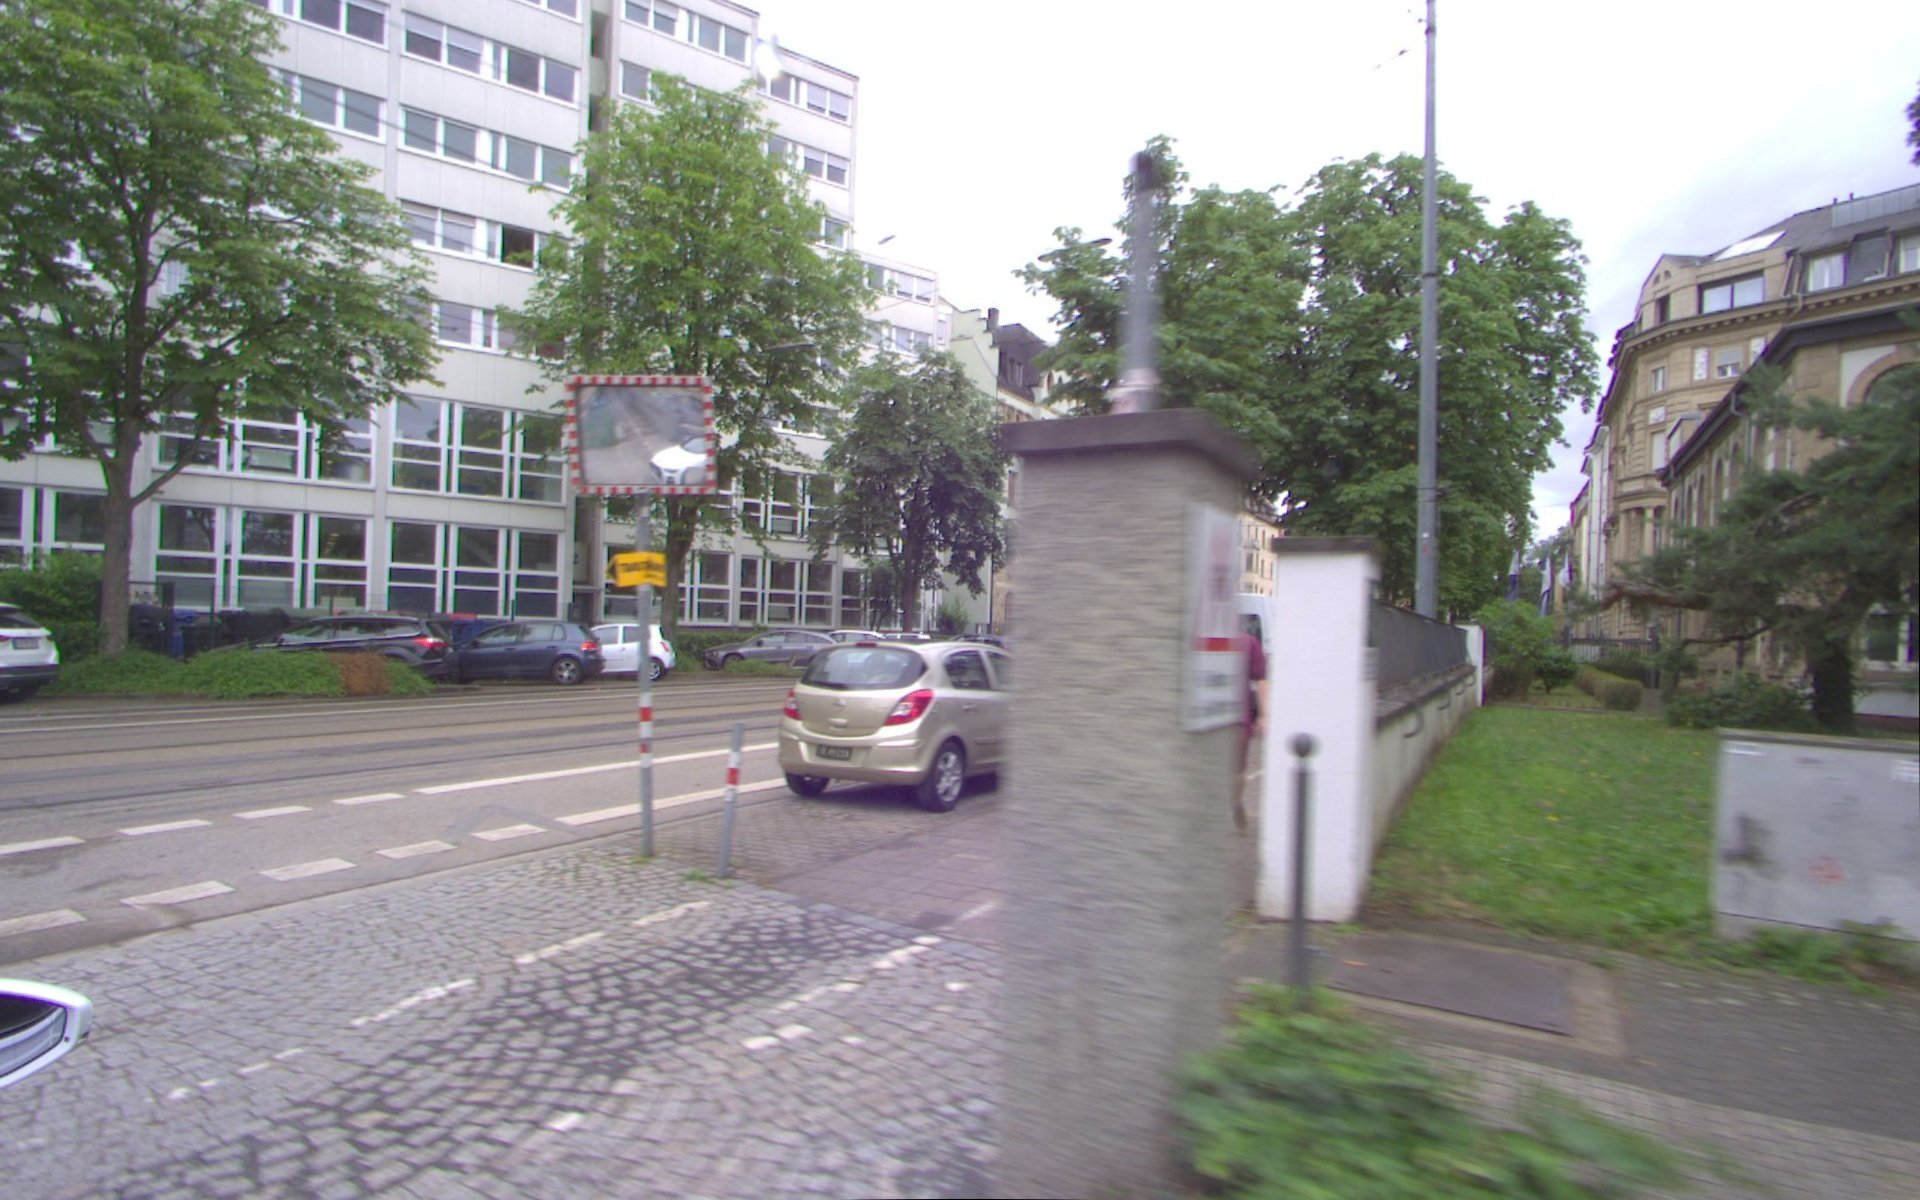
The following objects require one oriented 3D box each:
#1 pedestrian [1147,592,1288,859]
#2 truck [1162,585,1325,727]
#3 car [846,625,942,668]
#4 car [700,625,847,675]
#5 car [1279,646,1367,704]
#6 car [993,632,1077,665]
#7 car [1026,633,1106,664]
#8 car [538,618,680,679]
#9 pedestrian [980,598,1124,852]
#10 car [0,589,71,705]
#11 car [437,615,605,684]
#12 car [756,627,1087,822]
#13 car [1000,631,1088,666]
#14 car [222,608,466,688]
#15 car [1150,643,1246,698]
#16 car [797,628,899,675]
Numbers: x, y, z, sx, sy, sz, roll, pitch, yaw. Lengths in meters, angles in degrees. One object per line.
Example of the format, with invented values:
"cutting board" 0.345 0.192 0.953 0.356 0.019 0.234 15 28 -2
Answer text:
"pedestrian" 1.866 0.840 7.167 0.795 1.740 0.953 2 -1 23
"truck" 6.100 1.122 21.079 2.136 2.578 4.908 1 -1 30
"car" -2.478 1.719 37.421 3.329 1.493 1.415 2 -1 -14
"car" -5.936 1.607 31.897 4.420 1.491 1.415 2 -3 -18
"car" 9.877 1.967 27.077 1.783 1.371 3.799 1 -1 26
"car" 3.635 2.351 48.858 3.724 1.461 1.692 2 -1 -10
"car" 5.440 2.500 51.549 3.724 1.461 1.692 2 -1 -10
"car" -9.038 1.249 26.019 3.329 1.493 1.415 2 -1 -14
"pedestrian" 0.707 0.874 7.492 0.789 1.740 0.953 1 -1 23
"car" -15.377 0.630 14.526 3.345 1.639 1.555 2 -1 -12
"car" -10.038 1.138 23.119 3.329 1.493 1.415 2 -1 -14
"car" -0.195 1.086 10.041 1.640 1.520 3.579 1 -2 30
"car" 3.873 2.241 46.340 3.724 1.461 1.692 2 -1 -10
"car" -12.339 0.967 20.336 3.886 1.493 1.670 2 -1 -18
"car" 8.402 2.407 35.034 1.970 1.725 4.581 1 -2 31
"car" -3.906 1.781 34.701 3.329 1.492 1.415 2 -1 -14
